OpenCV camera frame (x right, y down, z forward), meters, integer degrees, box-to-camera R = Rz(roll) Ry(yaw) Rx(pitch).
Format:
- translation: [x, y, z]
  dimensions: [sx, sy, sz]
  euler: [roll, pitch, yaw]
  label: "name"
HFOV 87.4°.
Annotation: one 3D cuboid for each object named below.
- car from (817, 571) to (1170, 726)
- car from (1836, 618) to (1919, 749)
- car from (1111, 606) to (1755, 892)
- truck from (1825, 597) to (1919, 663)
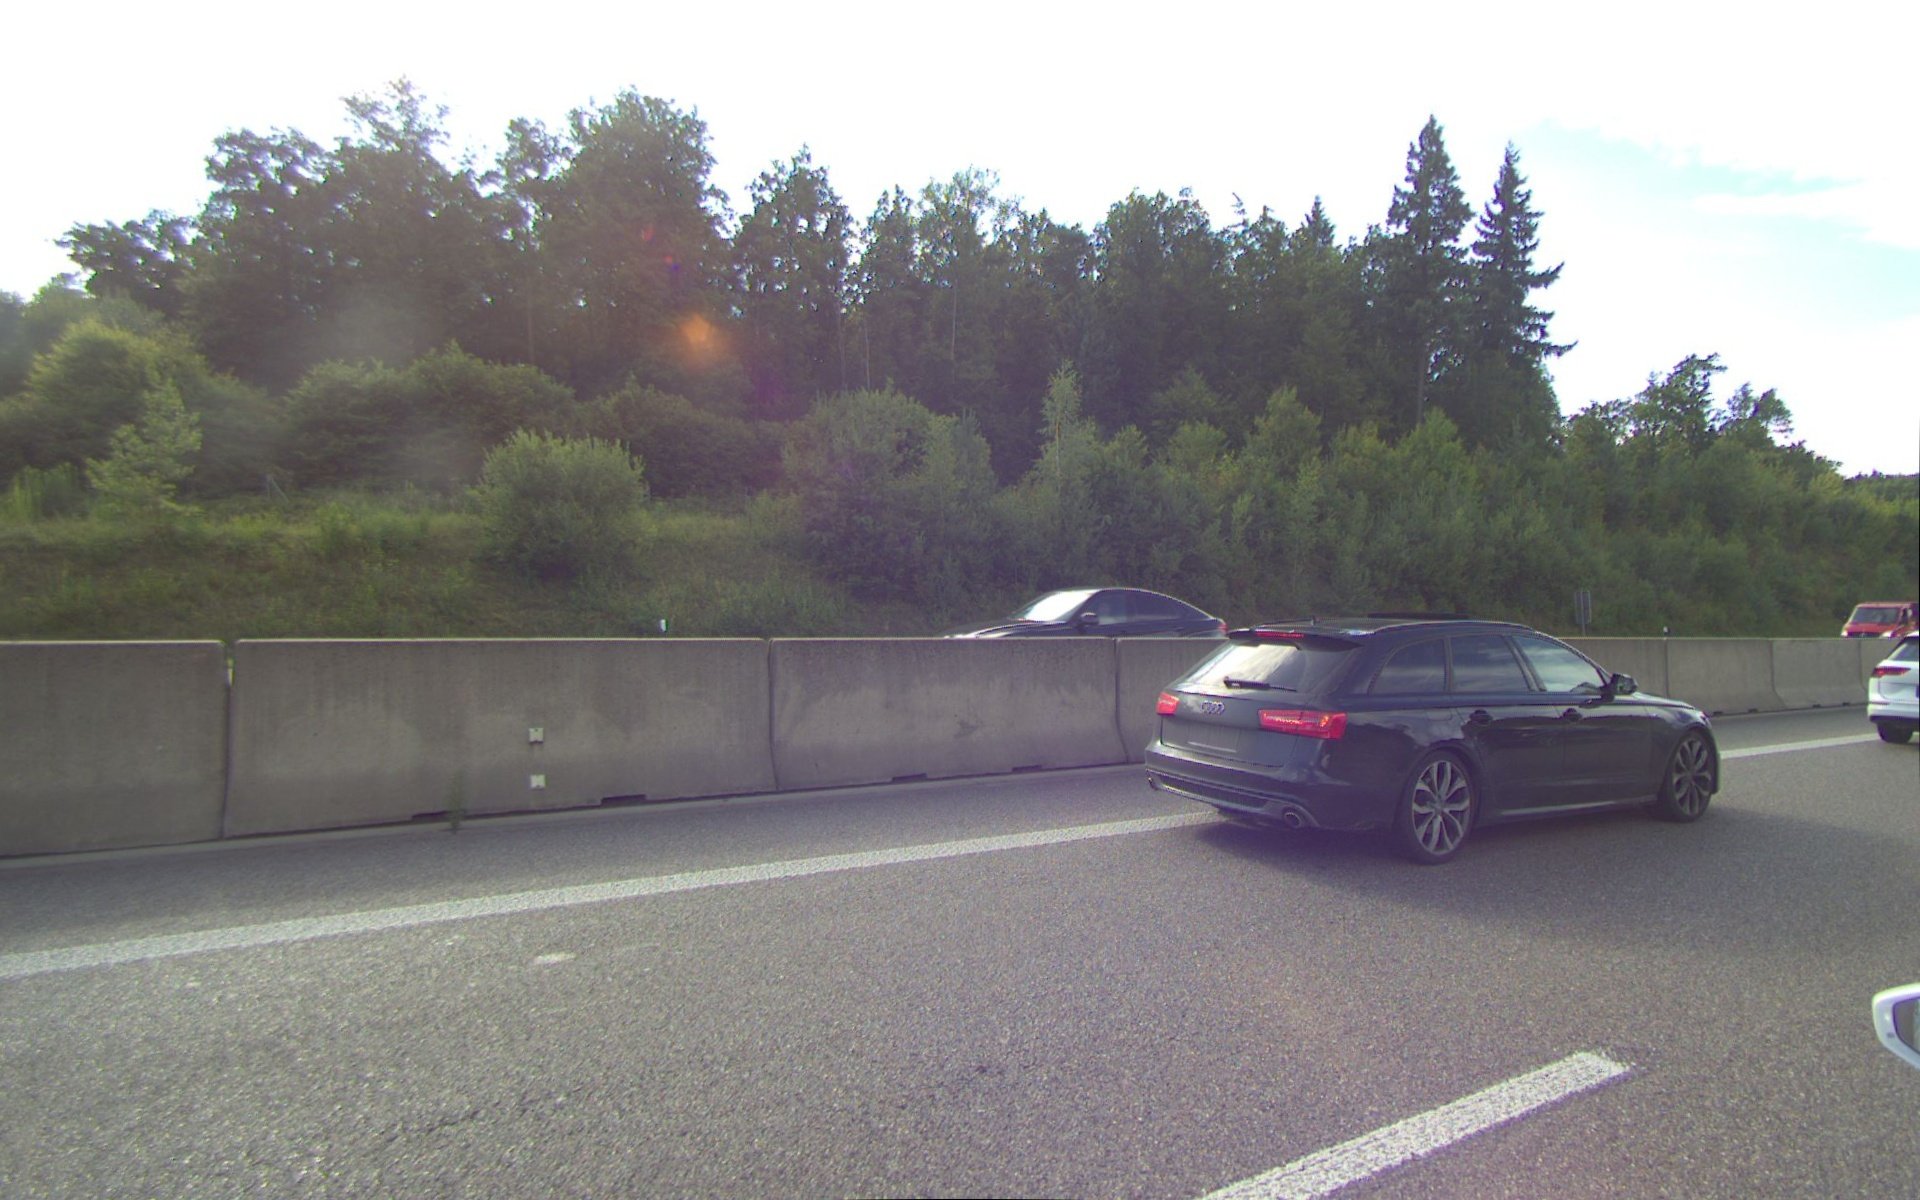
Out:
- translation: [0.523, 0.608, 13.825]
  dimensions: [4.570, 1.834, 1.843]
  euler: [1, 0, -30]
  label: "car"
- translation: [12.845, 1.015, 12.339]
  dimensions: [4.256, 1.480, 1.797]
  euler: [2, -1, -29]
  label: "car"
- translation: [3.524, 0.828, 7.239]
  dimensions: [4.691, 1.475, 1.834]
  euler: [1, 0, -30]
  label: "car"
- translation: [43.549, 1.394, 47.250]
  dimensions: [6.355, 2.893, 2.411]
  euler: [1, 0, -30]
  label: "truck"
